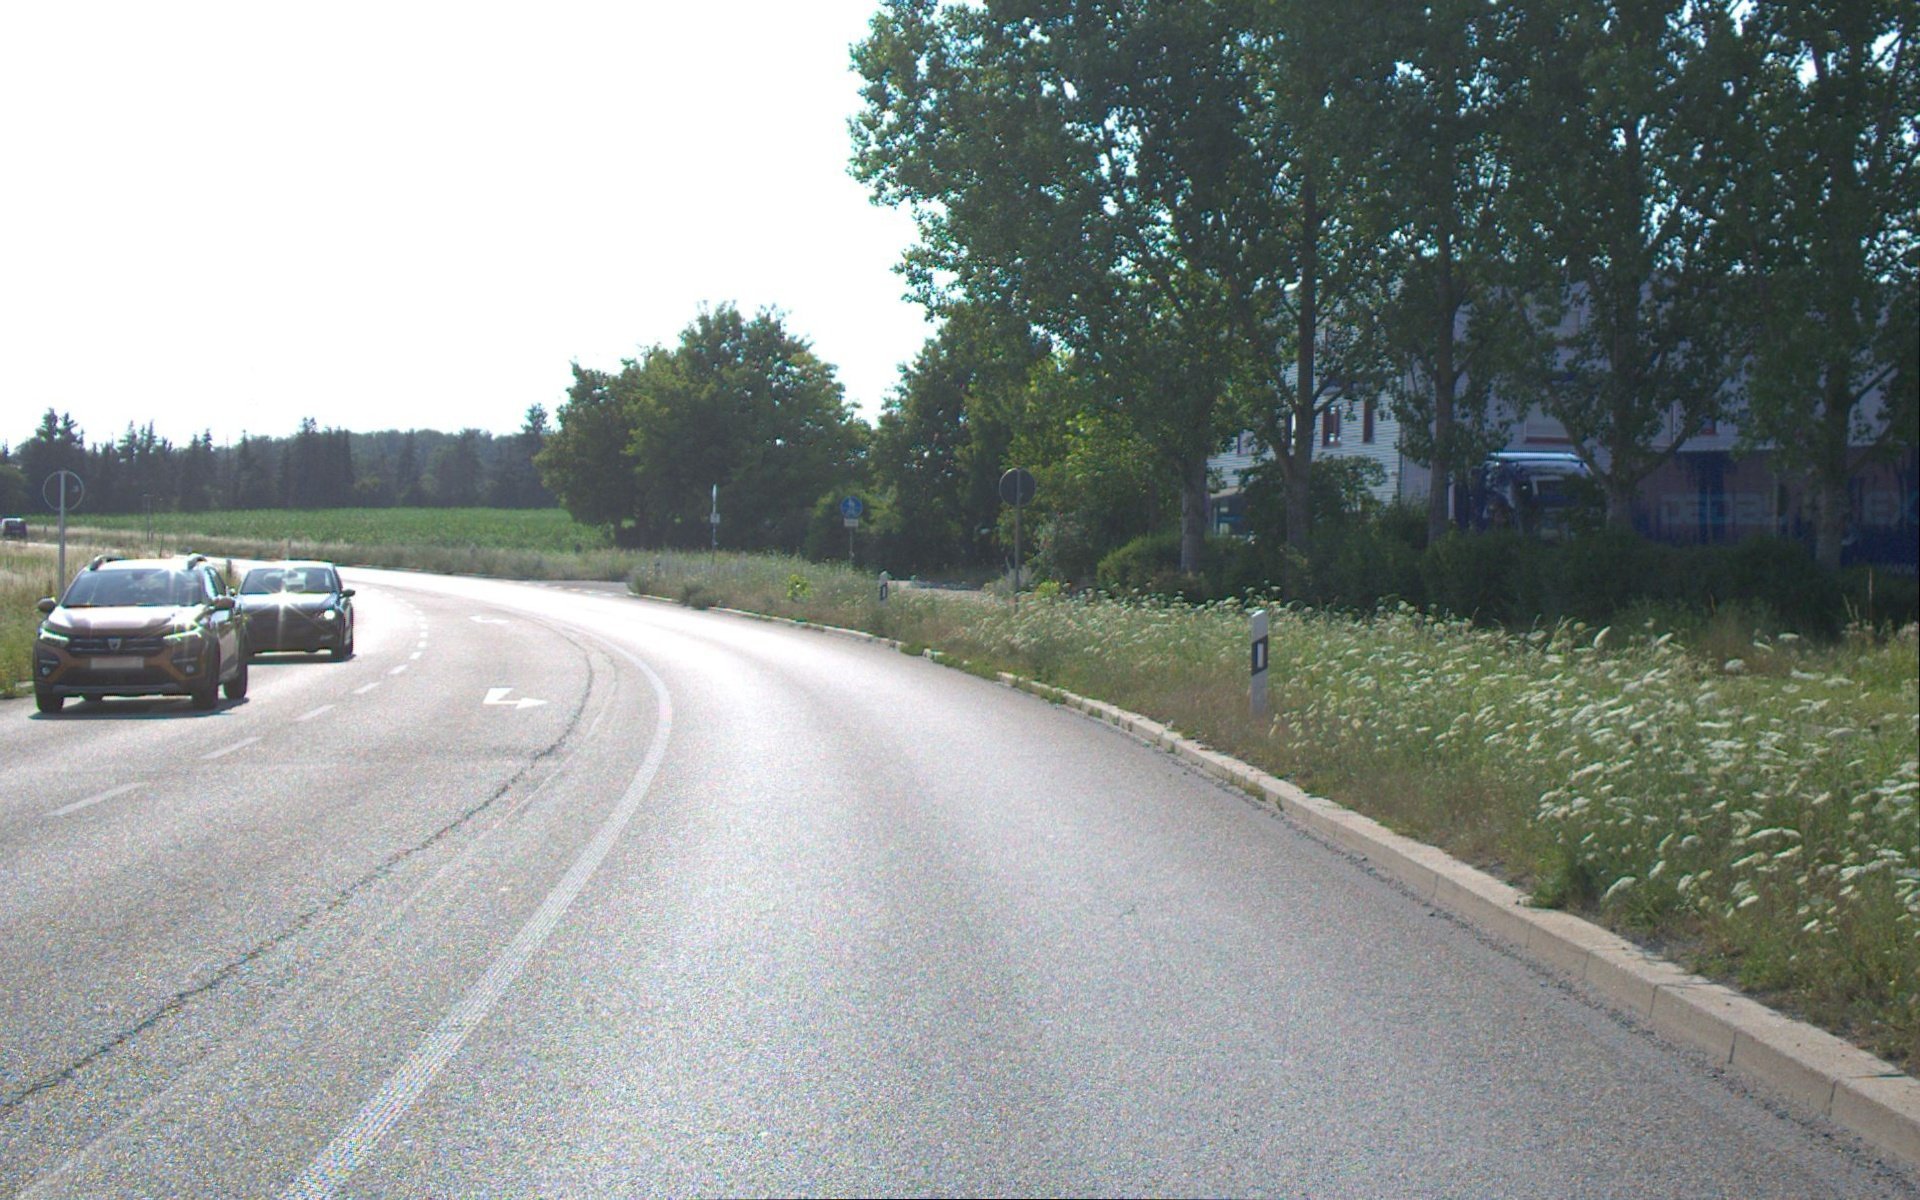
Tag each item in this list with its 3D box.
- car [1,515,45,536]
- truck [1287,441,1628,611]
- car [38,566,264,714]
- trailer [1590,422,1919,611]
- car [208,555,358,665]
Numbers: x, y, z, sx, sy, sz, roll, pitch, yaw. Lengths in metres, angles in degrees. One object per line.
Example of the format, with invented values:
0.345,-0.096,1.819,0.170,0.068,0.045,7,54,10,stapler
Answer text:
-58.727,-4.668,215.529,1.967,1.147,3.868,4,0,-25,car
10.835,-1.656,76.213,2.511,3.365,9.688,4,0,-24,truck
-8.327,0.375,35.678,1.684,1.344,4.001,3,1,-5,car
16.644,-1.446,62.598,2.683,3.131,13.272,4,-2,-26,trailer
-9.813,0.117,50.022,1.684,1.344,3.634,4,2,-5,car
